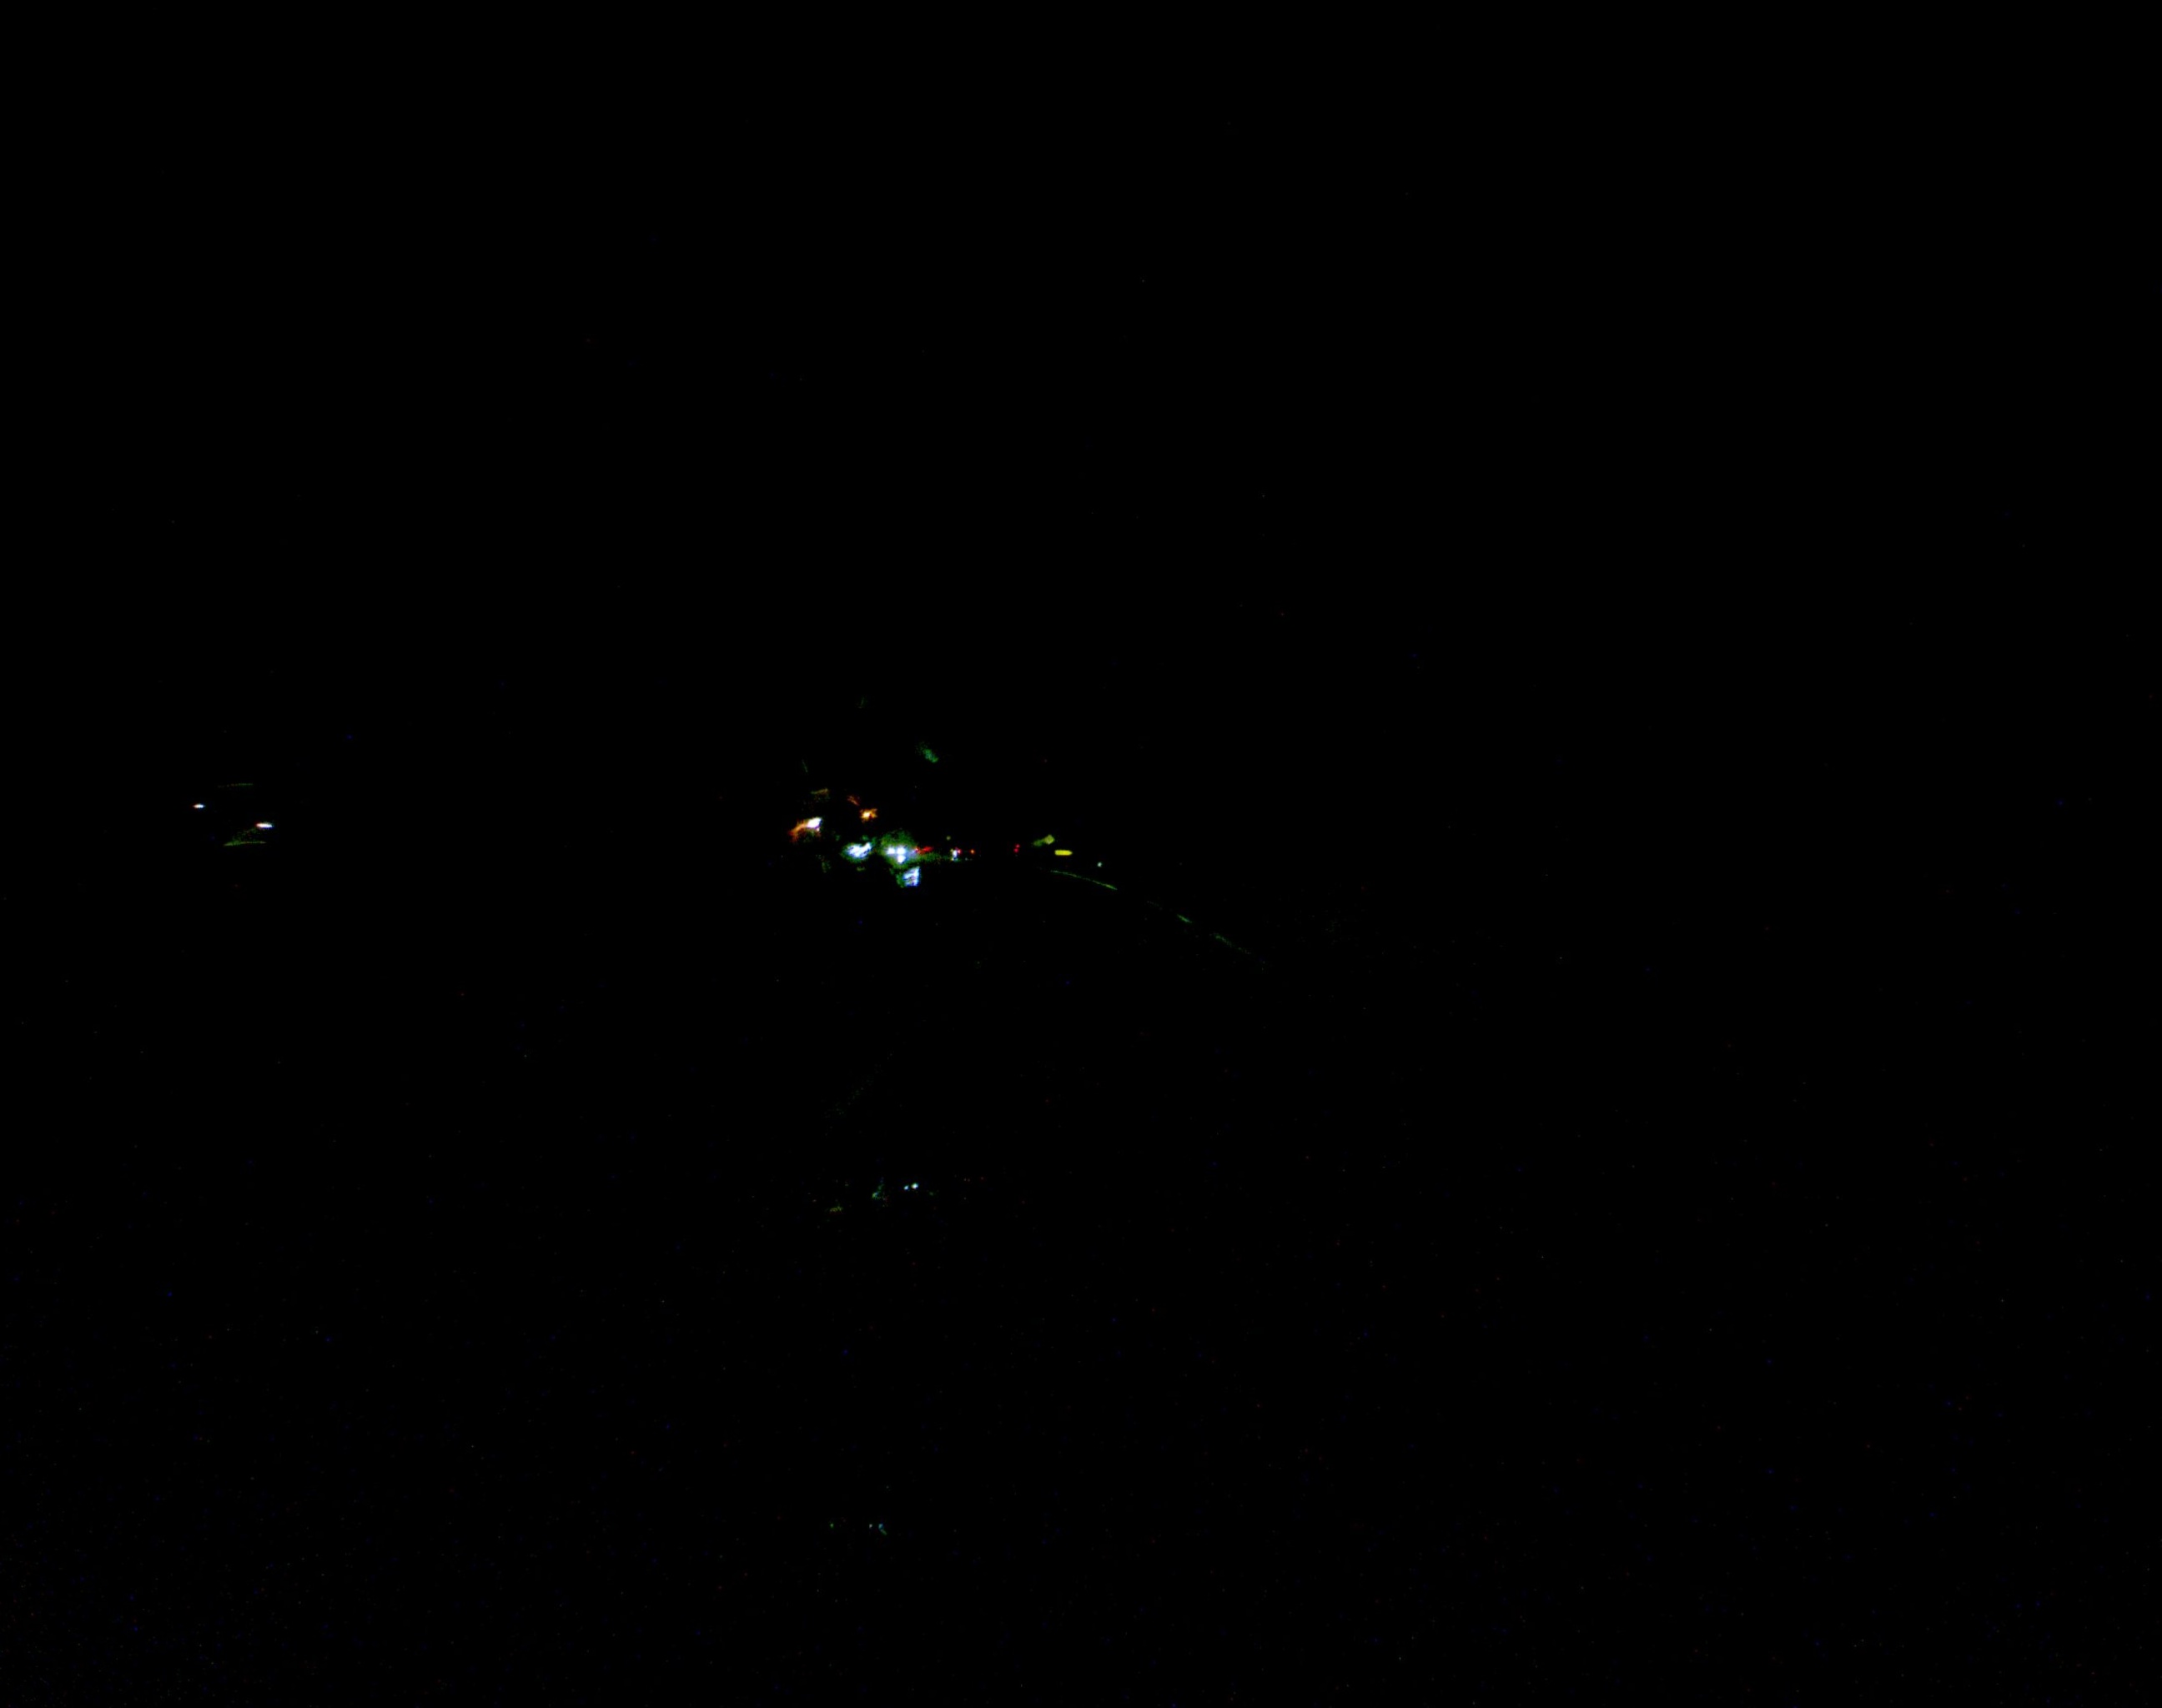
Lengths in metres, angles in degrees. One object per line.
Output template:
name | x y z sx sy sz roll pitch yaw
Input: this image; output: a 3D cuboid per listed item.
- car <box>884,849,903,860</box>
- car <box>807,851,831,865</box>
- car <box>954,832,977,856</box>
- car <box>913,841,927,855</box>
car | -26.424 0.026 114.649 1.963 1.522 4.369 1 -1 -20
car | -30.863 0.478 96.115 1.685 1.398 4.145 -3 2 -4
car | -13.341 -1.165 93.682 2.538 2.497 5.699 1 3 -9
car | -23.473 -0.815 118.892 1.994 2.014 3.986 1 -1 -10
